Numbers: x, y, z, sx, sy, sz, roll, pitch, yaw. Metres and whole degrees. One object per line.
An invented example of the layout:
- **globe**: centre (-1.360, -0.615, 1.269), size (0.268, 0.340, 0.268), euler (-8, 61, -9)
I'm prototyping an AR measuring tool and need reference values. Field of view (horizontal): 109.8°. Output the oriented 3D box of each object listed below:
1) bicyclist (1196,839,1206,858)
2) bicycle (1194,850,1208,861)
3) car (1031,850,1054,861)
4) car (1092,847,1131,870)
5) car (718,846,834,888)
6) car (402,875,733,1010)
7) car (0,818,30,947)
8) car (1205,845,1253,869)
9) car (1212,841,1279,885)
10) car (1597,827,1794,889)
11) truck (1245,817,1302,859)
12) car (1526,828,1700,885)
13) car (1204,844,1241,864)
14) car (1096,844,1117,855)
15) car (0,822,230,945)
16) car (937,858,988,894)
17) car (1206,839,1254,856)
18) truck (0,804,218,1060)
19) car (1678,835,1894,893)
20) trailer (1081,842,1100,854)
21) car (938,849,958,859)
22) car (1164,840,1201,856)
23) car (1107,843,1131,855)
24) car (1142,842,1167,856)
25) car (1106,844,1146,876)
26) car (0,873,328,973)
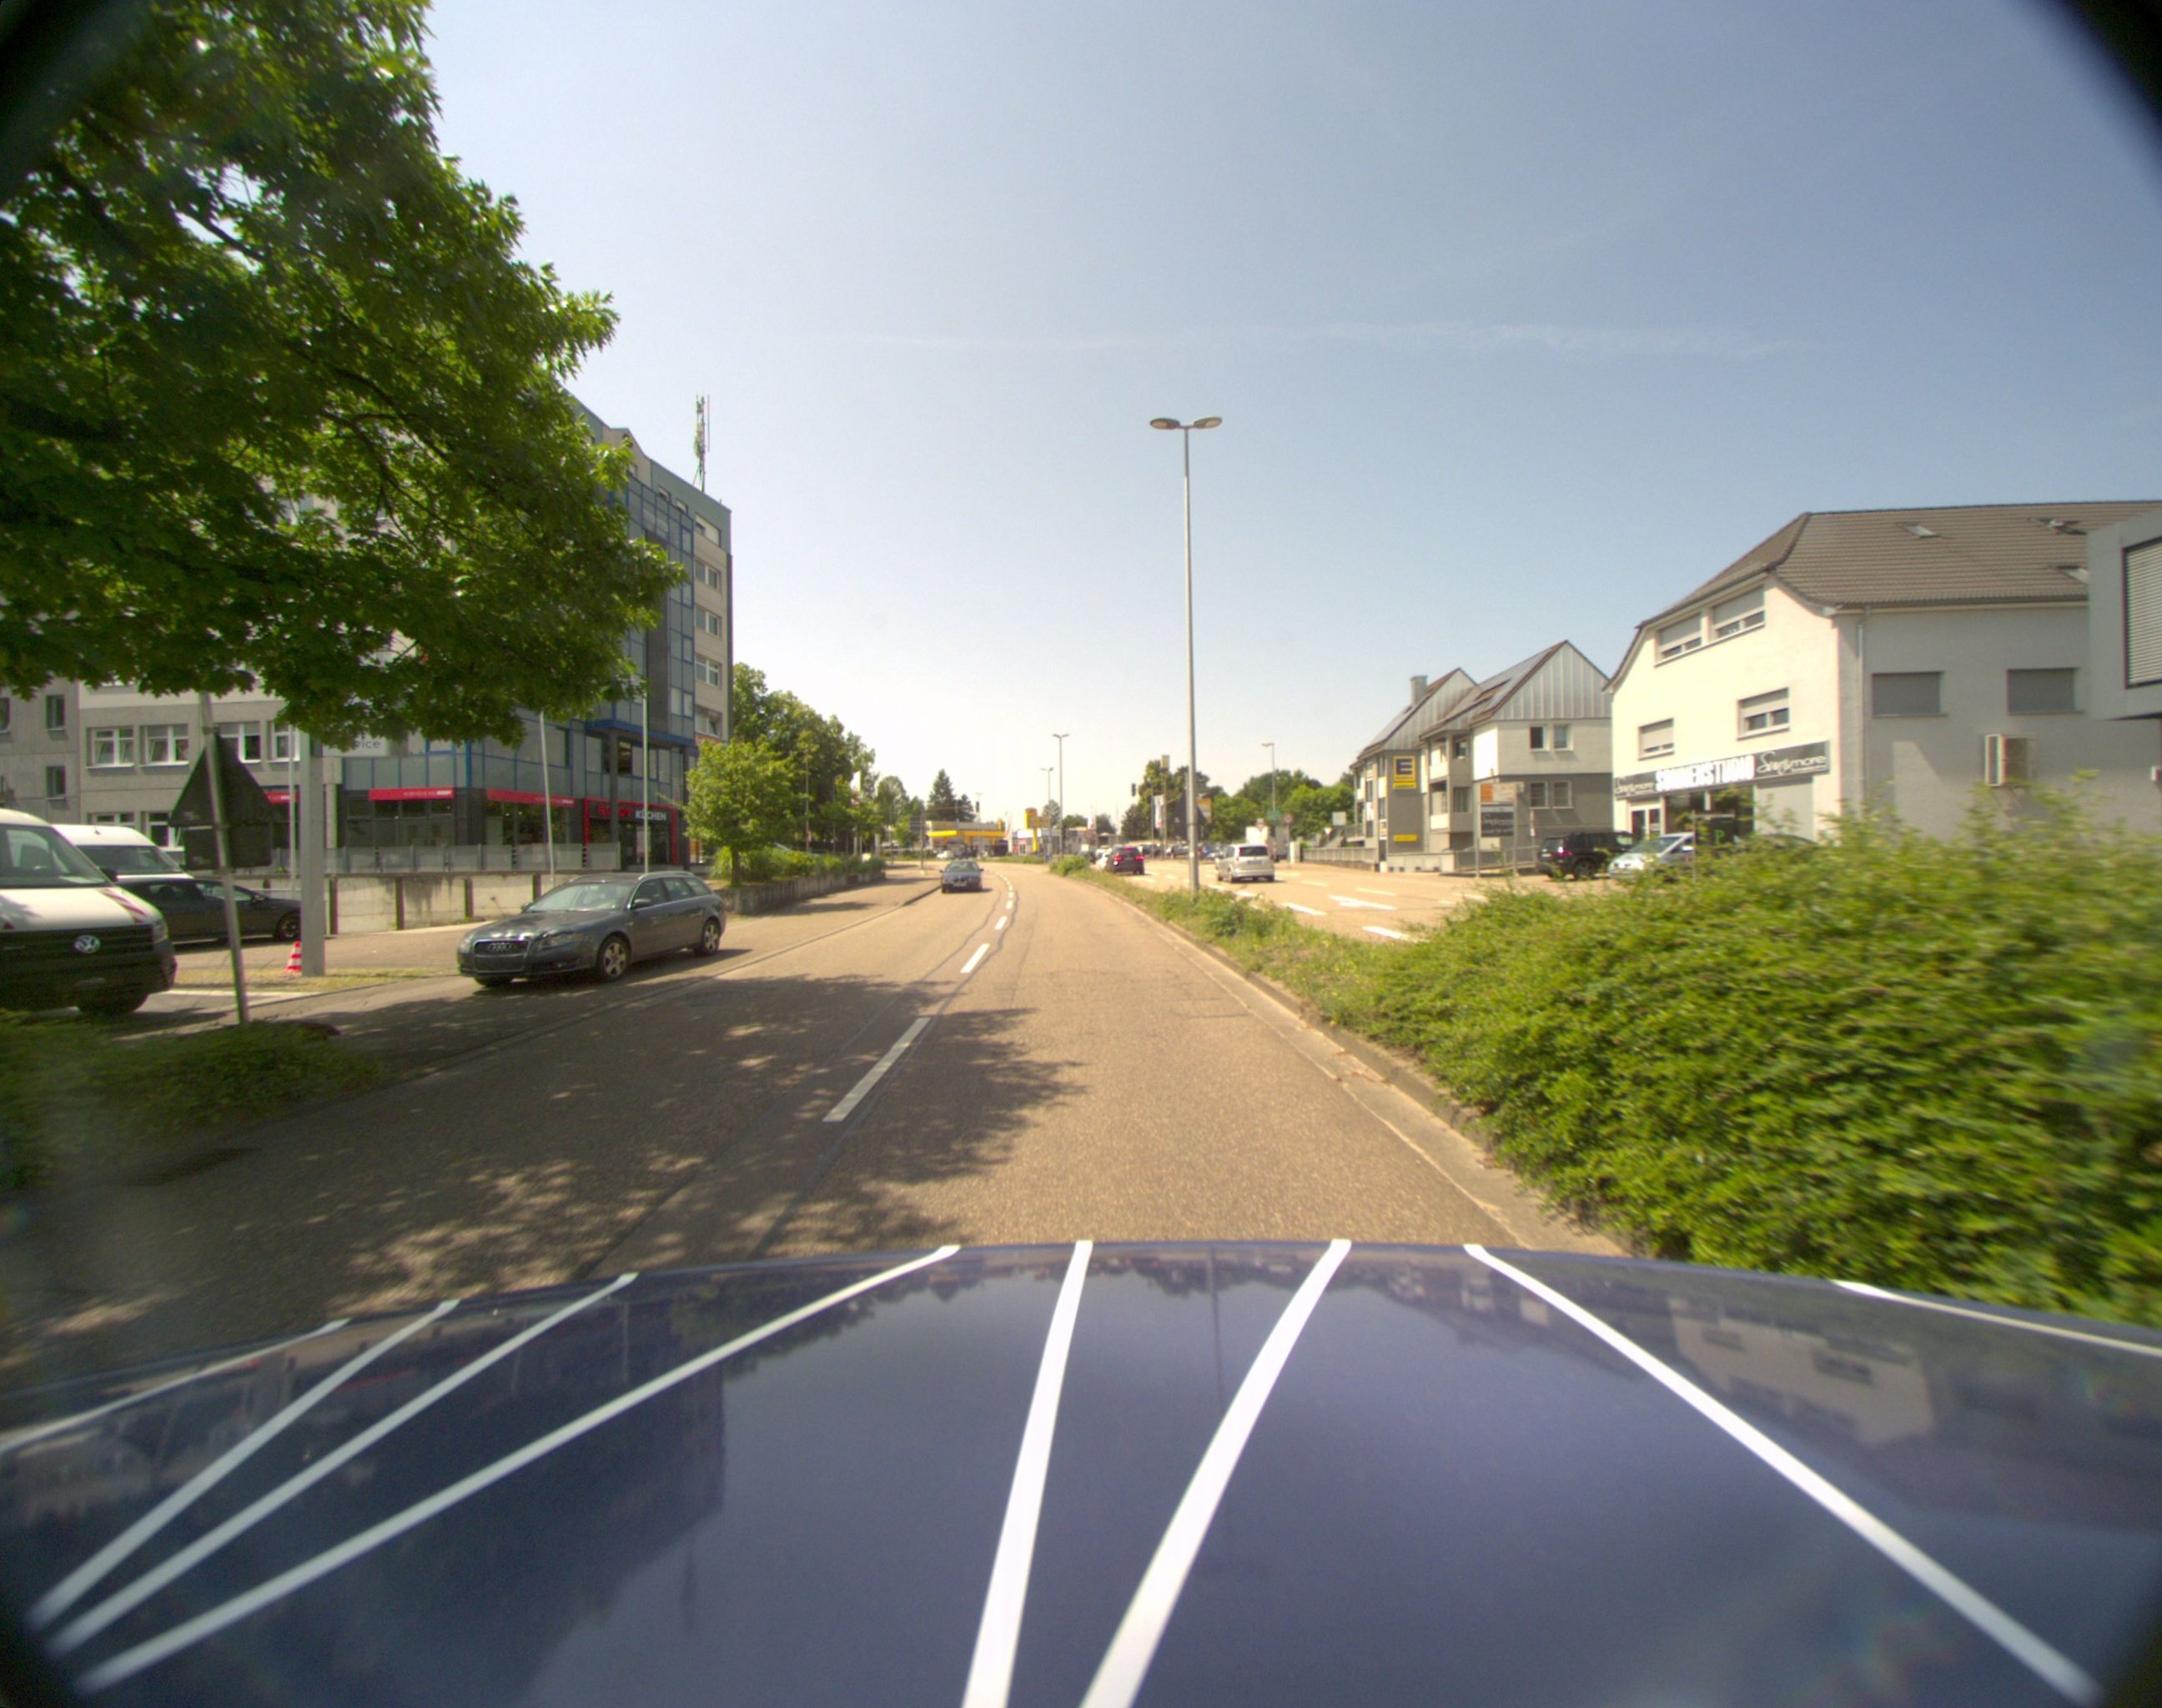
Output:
- **bicyclist**: centre (11.043, -0.495, 69.938), size (0.423, 1.633, 0.819), euler (-3, 0, -20)
- **bicycle**: centre (11.027, 0.143, 70.062), size (0.422, 1.048, 1.786), euler (-2, 1, -19)
- **car**: centre (-5.018, 0.233, 98.604), size (1.871, 1.358, 4.340), euler (1, 0, -18)
- **car**: centre (2.035, 0.253, 51.771), size (1.869, 1.423, 4.741), euler (-2, 1, -7)
- **car**: centre (-14.015, 0.548, 35.064), size (4.745, 1.704, 1.996), euler (-2, 2, -22)
- **car**: centre (-7.077, 1.110, 11.164), size (1.802, 1.398, 4.320), euler (-2, 0, 1)
- **car**: centre (-23.826, 0.648, 14.371), size (5.293, 2.522, 2.037), euler (-2, 2, 4)
- **car**: centre (9.521, 0.157, 49.239), size (1.810, 1.346, 4.353), euler (-4, 1, -5)
- **car**: centre (6.754, 0.301, 31.681), size (1.785, 1.620, 4.337), euler (-1, 2, -1)
- **car**: centre (18.819, 0.116, 23.411), size (4.617, 1.488, 1.752), euler (-4, 0, -1)
- **truck**: centre (17.709, -1.502, 69.628), size (2.266, 3.399, 7.050), euler (-1, 3, 38)
- **car**: centre (18.415, 0.084, 26.458), size (4.616, 1.618, 1.854), euler (-4, 0, 2)
- **car**: centre (11.440, -0.043, 61.719), size (1.903, 1.557, 4.195), euler (-1, 1, -4)
- **car**: centre (3.616, -0.648, 106.478), size (1.754, 1.501, 3.824), euler (-1, 2, 20)
- **car**: centre (-23.099, 0.647, 17.065), size (5.898, 2.514, 2.120), euler (-2, 2, 5)
- **car**: centre (-5.108, 0.921, 33.224), size (1.698, 1.365, 3.999), euler (-1, 1, -2)
- **car**: centre (16.065, -0.695, 82.060), size (4.763, 1.601, 1.760), euler (-2, 2, -10)
- **truck**: centre (-12.906, 0.692, 7.557), size (6.259, 2.322, 2.369), euler (0, -1, 4)
- **car**: centre (19.169, 0.252, 20.808), size (4.067, 1.512, 2.000), euler (0, 1, 0)
- **trailer**: centre (1.352, -0.824, 109.775), size (1.689, 1.694, 2.439), euler (-1, 1, 32)
- **car**: centre (-23.823, 0.045, 135.660), size (1.825, 1.561, 4.544), euler (-4, 2, -33)
- **car**: centre (12.995, -0.757, 97.037), size (4.299, 1.891, 1.832), euler (1, 3, 21)
- **car**: centre (5.203, -0.694, 104.388), size (1.914, 1.532, 3.968), euler (-1, 2, 24)
- **car**: centre (9.663, -0.692, 99.811), size (1.847, 1.714, 4.007), euler (-1, 2, -16)
- **car**: centre (2.638, 0.304, 45.534), size (1.914, 1.741, 4.757), euler (-2, 1, -2)
- **car**: centre (-18.434, 1.260, 15.330), size (1.834, 1.499, 4.319), euler (-2, 1, 7)
